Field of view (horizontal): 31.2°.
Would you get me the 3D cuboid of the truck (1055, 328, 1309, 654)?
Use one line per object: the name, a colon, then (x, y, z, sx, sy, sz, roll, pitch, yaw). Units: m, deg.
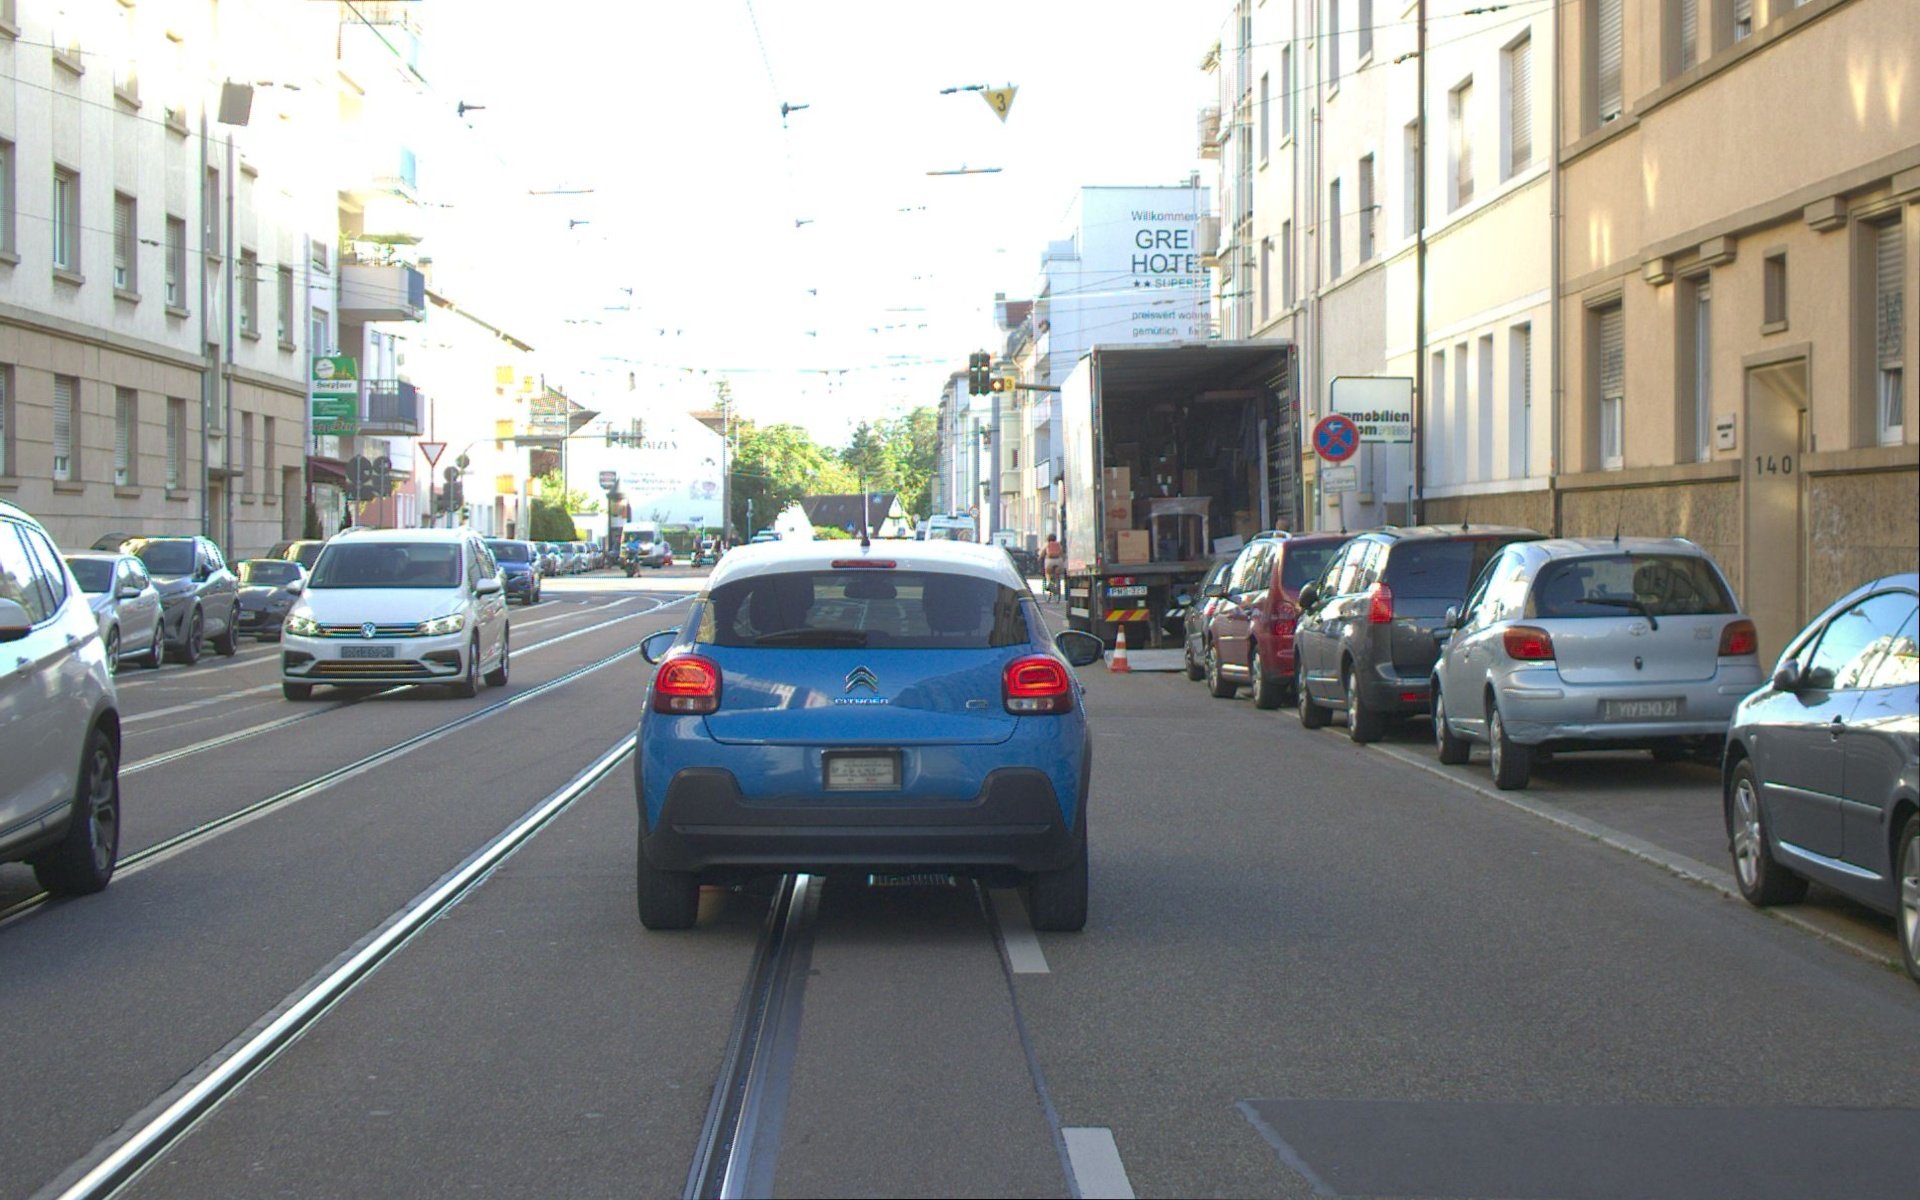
truck: (2.943, -1.489, 48.695, 2.853, 4.069, 11.271, 0, 1, 0)

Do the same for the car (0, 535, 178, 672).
car: (-10.470, -0.001, 40.341, 1.714, 1.512, 4.048, 0, 1, -1)

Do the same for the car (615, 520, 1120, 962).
car: (-0.361, 0.454, 14.157, 1.735, 1.502, 3.993, 2, 1, -1)

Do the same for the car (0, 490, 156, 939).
car: (-4.404, 0.412, 12.796, 1.826, 1.626, 4.491, 0, 1, -1)

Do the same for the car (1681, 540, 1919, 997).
car: (3.981, 0.527, 12.630, 1.722, 1.481, 4.222, 0, 1, -1)

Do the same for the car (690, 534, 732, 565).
car: (-11.984, -2.447, 165.777, 1.765, 1.481, 4.032, 0, 1, -1)

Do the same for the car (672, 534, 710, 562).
car: (-14.289, -2.768, 183.029, 1.765, 1.481, 4.032, 0, 1, -1)

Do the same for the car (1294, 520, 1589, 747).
car: (3.691, 0.197, 27.007, 1.664, 1.641, 4.222, 0, 1, -1)

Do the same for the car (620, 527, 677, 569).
car: (-12.203, -2.055, 134.687, 1.901, 1.626, 4.267, 0, 1, -1)

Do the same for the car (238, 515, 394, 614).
car: (-11.002, -0.635, 59.024, 1.826, 1.626, 4.849, 0, 1, -1)

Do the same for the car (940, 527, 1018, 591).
car: (0.429, -1.003, 81.844, 1.765, 1.481, 4.032, 0, 1, -1)

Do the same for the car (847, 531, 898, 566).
car: (-3.846, -2.273, 151.365, 2.180, 1.481, 4.160, 0, 1, -1)

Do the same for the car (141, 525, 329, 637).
car: (-11.169, -0.326, 53.252, 2.144, 1.616, 4.001, -1, 1, -2)

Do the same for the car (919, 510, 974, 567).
car: (-0.562, -2.526, 140.642, 2.220, 2.276, 4.084, 0, 1, -1)

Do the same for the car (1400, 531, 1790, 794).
car: (3.965, 0.323, 22.110, 1.664, 1.514, 4.222, 0, 1, -1)

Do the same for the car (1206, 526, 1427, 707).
car: (3.362, 0.109, 33.024, 1.664, 1.627, 3.871, 0, 1, -1)

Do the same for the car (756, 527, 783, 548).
car: (-13.212, -4.353, 238.615, 1.765, 1.481, 4.032, 0, 1, -1)

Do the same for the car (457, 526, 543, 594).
car: (-11.346, -1.009, 84.917, 1.825, 1.626, 3.906, 0, 1, -4)

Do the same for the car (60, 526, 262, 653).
car: (-10.431, -0.178, 45.164, 1.714, 1.588, 4.267, 0, 1, -1)

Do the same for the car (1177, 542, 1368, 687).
car: (3.355, 0.115, 37.505, 1.664, 1.481, 4.032, 0, 1, -1)

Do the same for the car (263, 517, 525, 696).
car: (-5.452, 0.015, 33.611, 1.901, 1.626, 4.267, 0, 1, -1)
